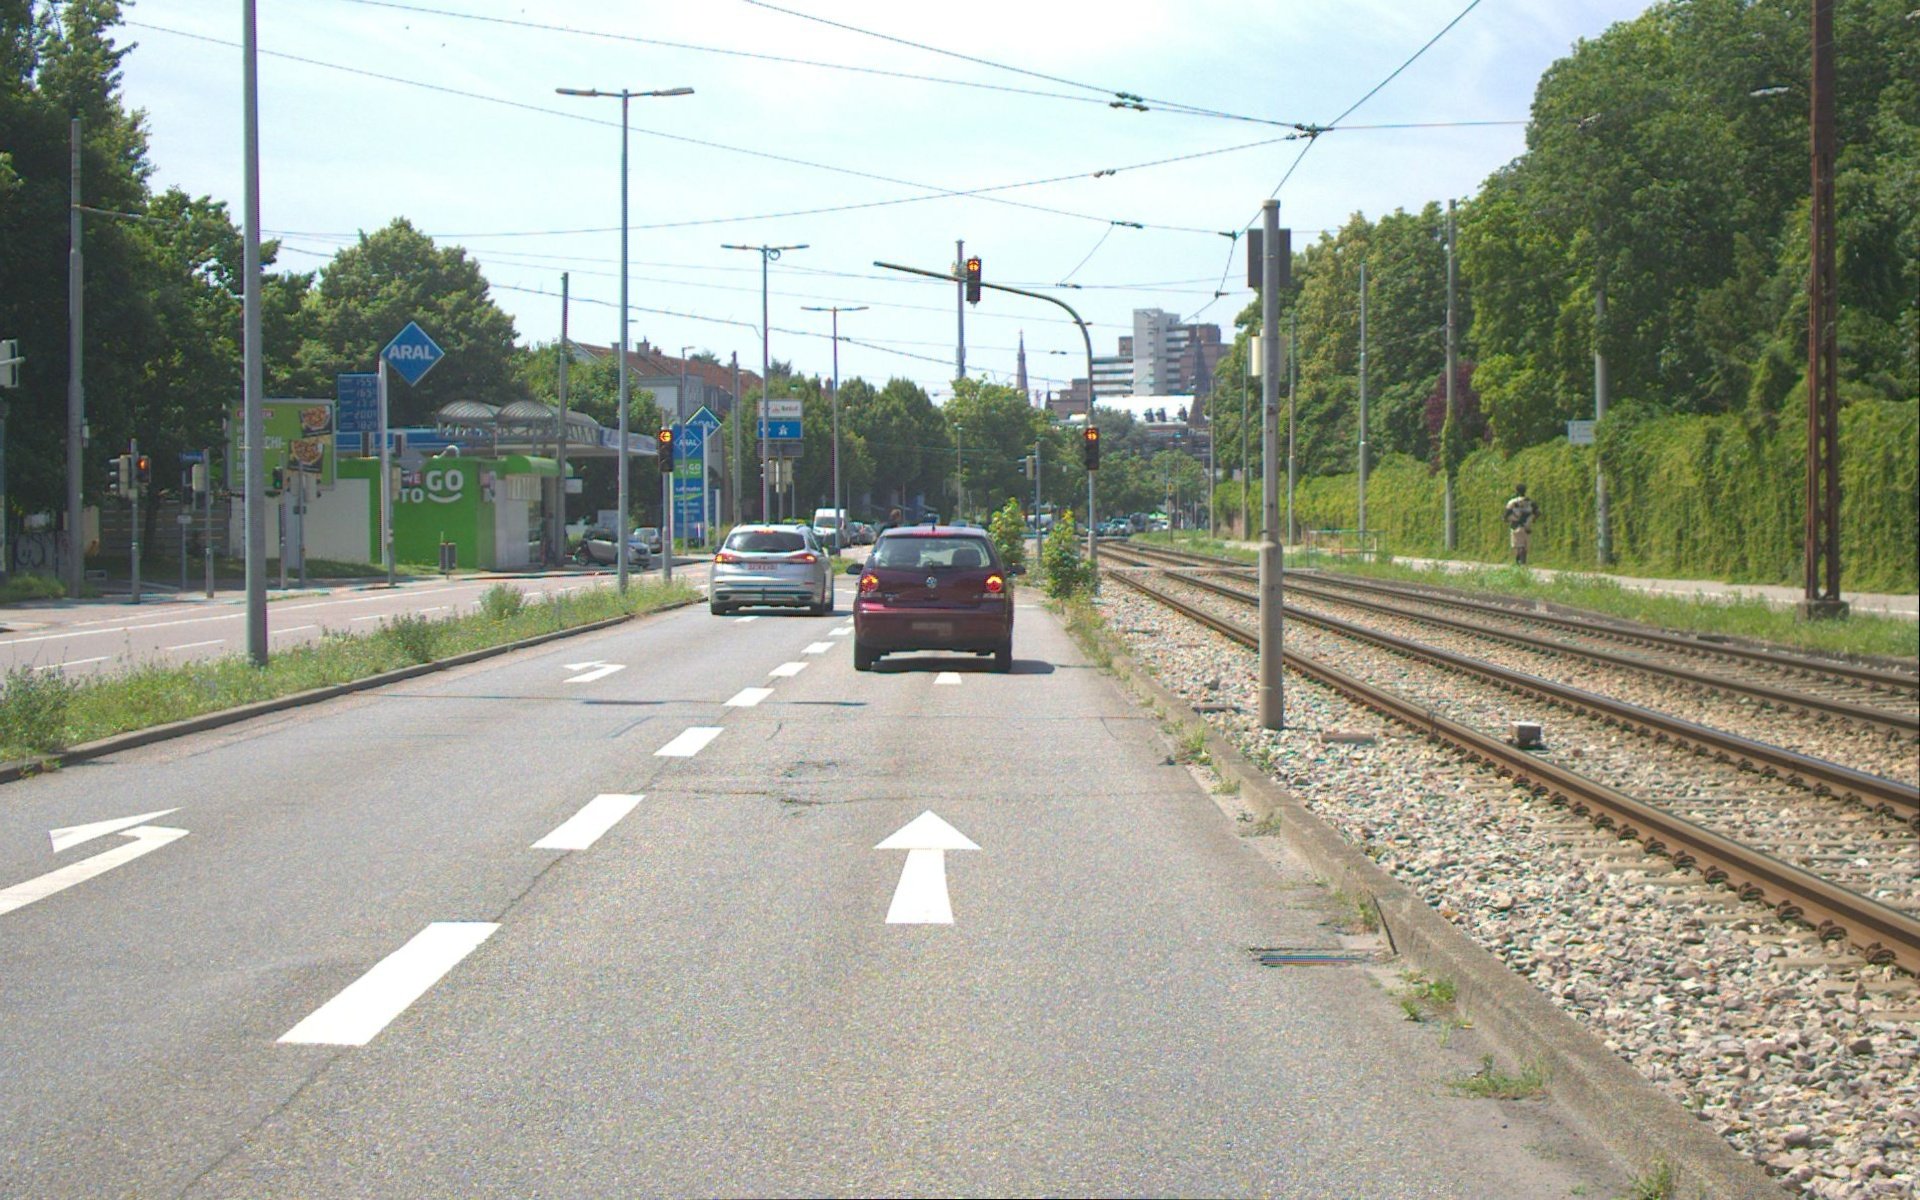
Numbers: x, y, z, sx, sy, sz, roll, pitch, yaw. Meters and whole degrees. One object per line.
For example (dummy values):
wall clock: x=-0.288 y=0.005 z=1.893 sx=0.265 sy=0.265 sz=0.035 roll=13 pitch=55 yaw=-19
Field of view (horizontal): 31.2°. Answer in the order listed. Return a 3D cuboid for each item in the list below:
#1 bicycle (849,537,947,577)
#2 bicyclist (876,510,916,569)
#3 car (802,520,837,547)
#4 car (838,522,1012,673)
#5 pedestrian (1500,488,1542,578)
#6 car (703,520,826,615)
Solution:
bicycle: x=-1.715 y=-1.173 z=94.409 sx=2.549 sy=1.034 sz=1.088 roll=1 pitch=0 yaw=-8
bicyclist: x=-1.759 y=-1.662 z=94.423 sx=0.944 sy=1.588 sz=1.088 roll=1 pitch=0 yaw=-8
car: x=-8.744 y=-4.122 z=214.056 sx=1.993 sy=1.590 sz=4.001 roll=1 pitch=0 yaw=-4
car: x=-0.385 y=-0.068 z=35.784 sx=1.703 sy=1.472 sz=3.717 roll=1 pitch=1 yaw=-1
pedestrian: x=10.774 y=-1.283 z=66.064 sx=0.661 sy=1.720 sz=0.816 roll=0 pitch=1 yaw=0
car: x=-3.149 y=-0.526 z=55.956 sx=1.703 sy=1.475 sz=3.716 roll=1 pitch=1 yaw=1
